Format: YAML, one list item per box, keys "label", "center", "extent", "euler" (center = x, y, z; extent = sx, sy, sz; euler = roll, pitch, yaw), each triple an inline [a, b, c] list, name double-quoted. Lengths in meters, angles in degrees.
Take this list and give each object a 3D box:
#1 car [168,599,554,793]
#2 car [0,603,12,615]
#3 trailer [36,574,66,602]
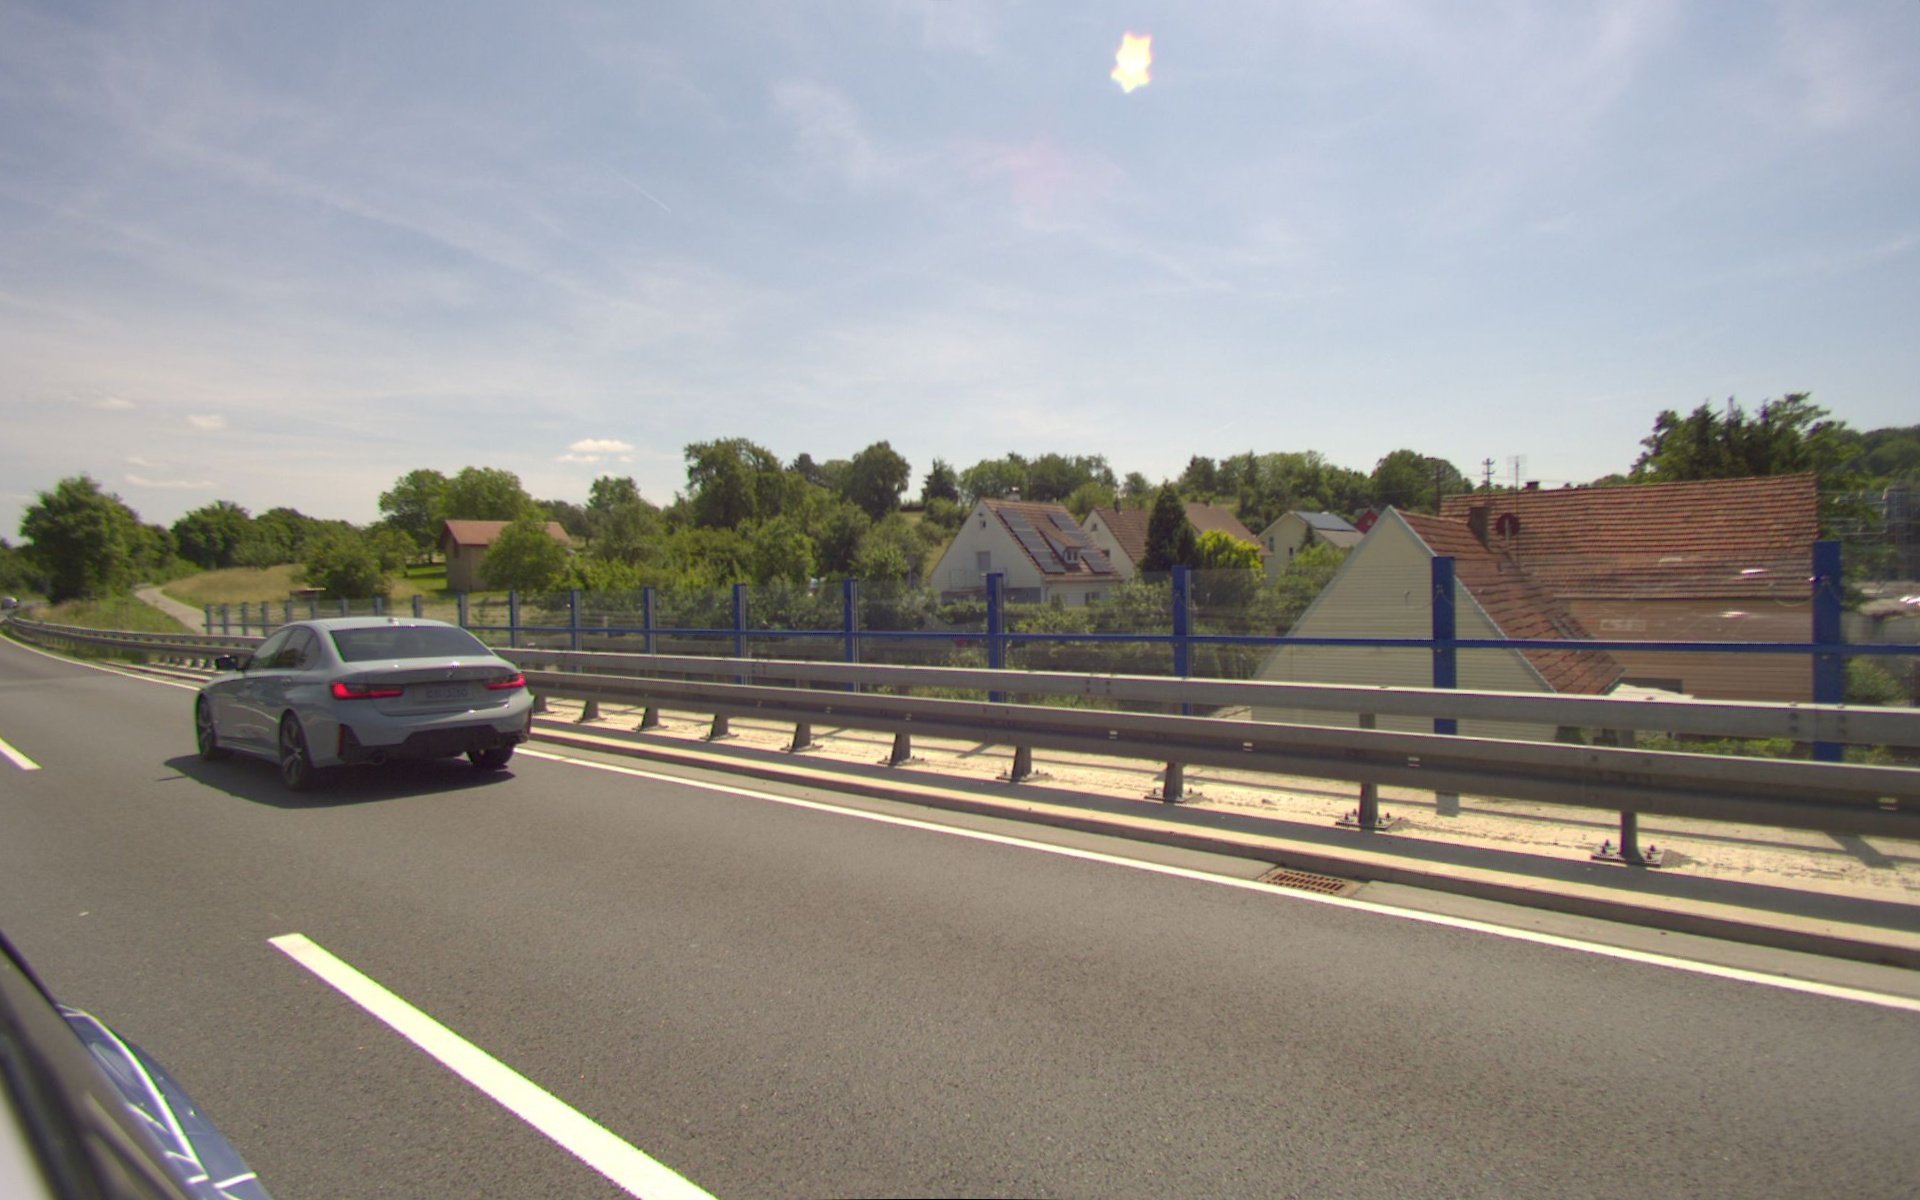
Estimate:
- label: "car"
  center: [-5.969, 0.744, 9.800]
  extent: [4.831, 1.446, 1.763]
  euler: [-1, -1, 41]
- label: "car"
  center: [-117.045, 1.145, 123.531]
  extent: [1.625, 1.452, 4.165]
  euler: [1, -1, -40]
- label: "trailer"
  center: [-143.514, -1.797, 159.917]
  extent: [2.414, 4.216, 14.044]
  euler: [1, 0, -38]
